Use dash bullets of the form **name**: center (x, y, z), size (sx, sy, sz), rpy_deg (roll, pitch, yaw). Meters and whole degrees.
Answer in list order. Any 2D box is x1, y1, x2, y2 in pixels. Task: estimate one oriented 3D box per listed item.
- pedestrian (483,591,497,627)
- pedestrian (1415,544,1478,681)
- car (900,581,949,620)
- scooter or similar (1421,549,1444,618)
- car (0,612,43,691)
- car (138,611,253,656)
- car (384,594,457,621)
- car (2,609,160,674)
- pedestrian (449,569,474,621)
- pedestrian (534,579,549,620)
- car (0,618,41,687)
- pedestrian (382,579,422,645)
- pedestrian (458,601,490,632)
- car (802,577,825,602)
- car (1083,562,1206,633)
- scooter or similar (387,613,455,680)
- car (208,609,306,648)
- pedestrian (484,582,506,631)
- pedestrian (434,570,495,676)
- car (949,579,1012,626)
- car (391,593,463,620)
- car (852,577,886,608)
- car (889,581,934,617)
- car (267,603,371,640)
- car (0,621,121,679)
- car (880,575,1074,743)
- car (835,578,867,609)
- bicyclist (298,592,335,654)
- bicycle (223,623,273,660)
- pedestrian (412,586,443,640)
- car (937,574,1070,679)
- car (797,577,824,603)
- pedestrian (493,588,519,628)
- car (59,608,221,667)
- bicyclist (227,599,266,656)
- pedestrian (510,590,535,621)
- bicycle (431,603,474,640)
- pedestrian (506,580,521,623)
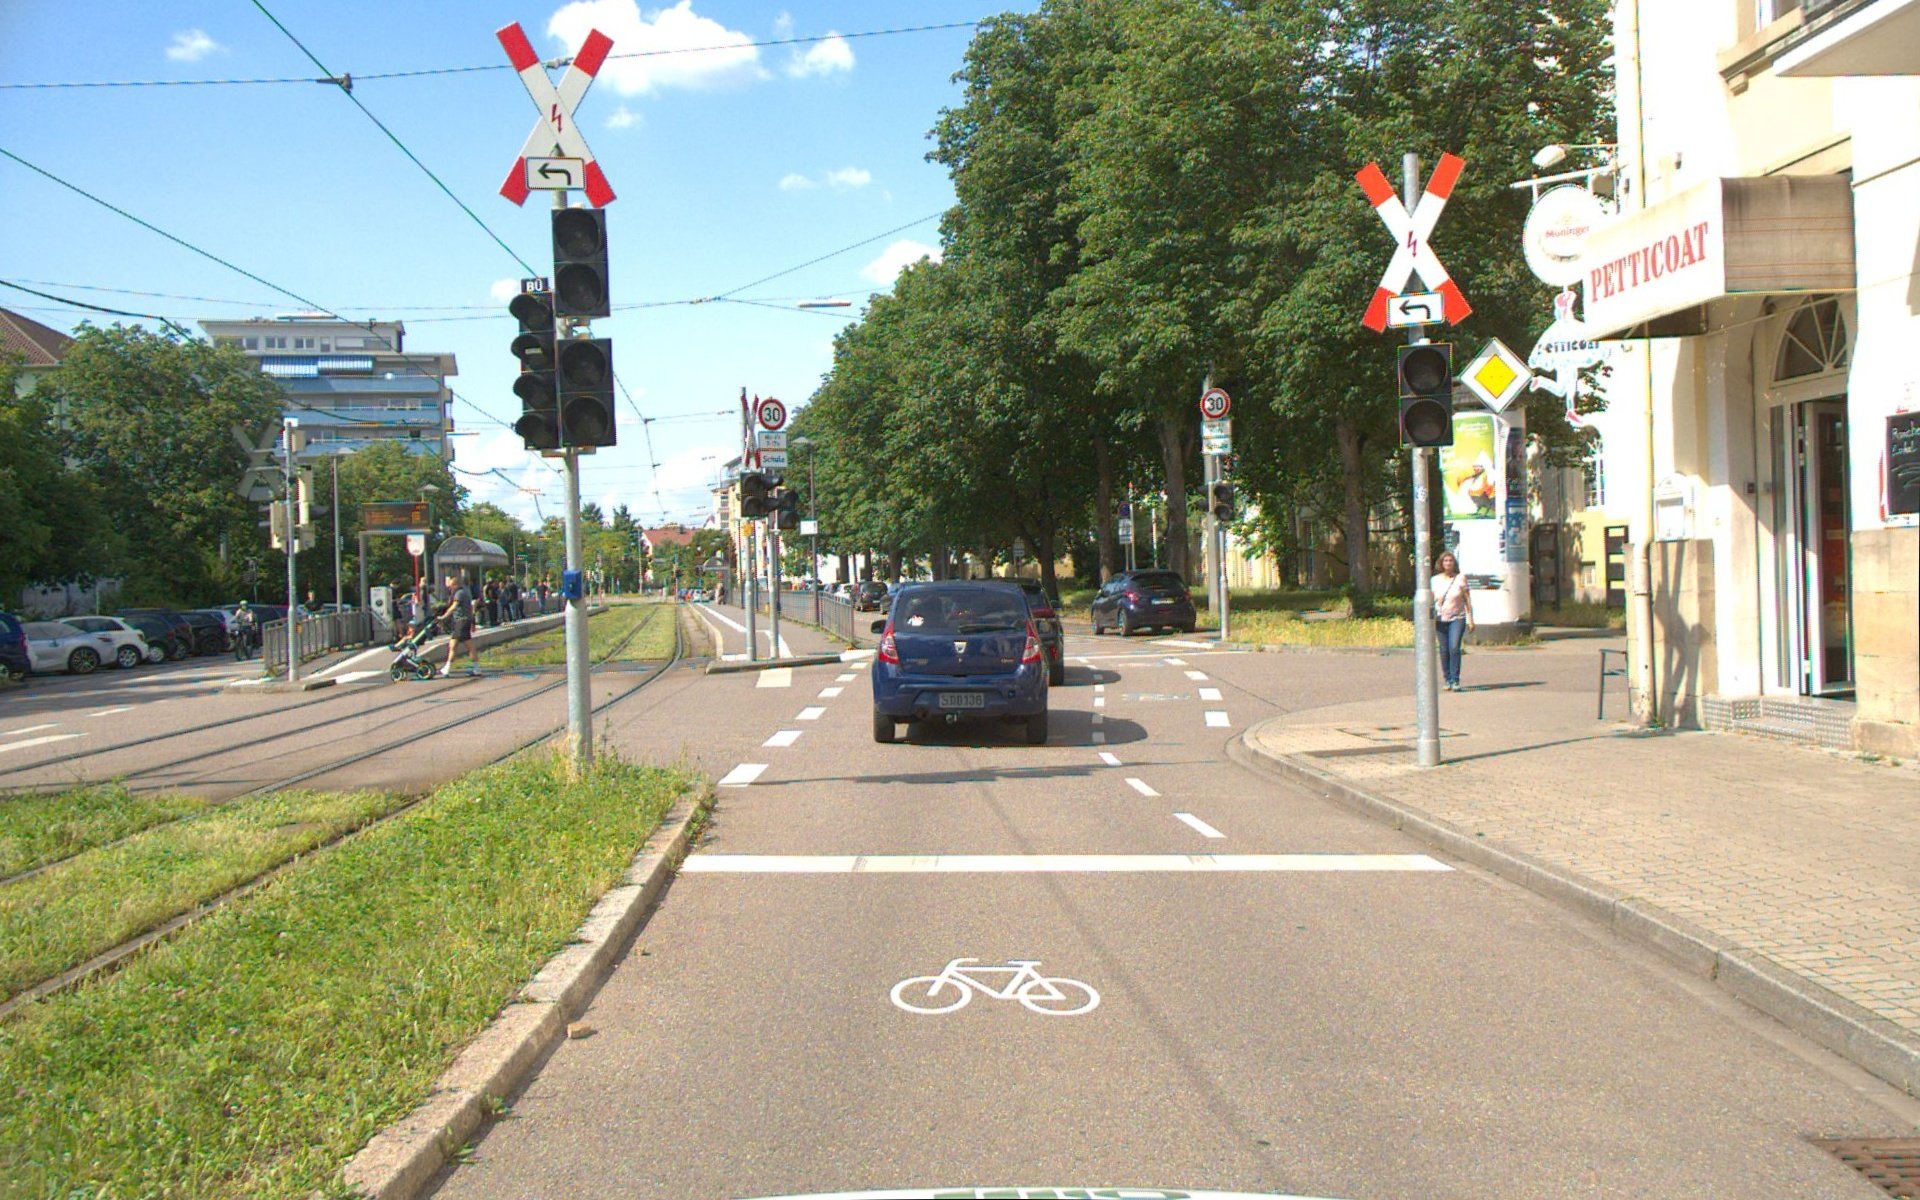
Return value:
- **pedestrian**: center (-19.314, 0.363, 67.977), size (0.480, 1.477, 0.461), rpy_deg (-3, 1, -19)
- **pedestrian**: center (6.167, 0.151, 20.947), size (0.658, 1.677, 0.764), rpy_deg (-3, 0, 19)
- **car**: center (-1.531, -0.006, 70.460), size (1.825, 1.470, 3.997), rpy_deg (-4, 1, -4)
- **scooter or similar**: center (8.540, -0.300, 29.919), size (0.299, 1.210, 1.163), rpy_deg (-2, 1, 13)
- **car**: center (-22.121, 1.184, 35.309), size (1.694, 1.669, 4.110), rpy_deg (-2, 1, 41)
- **car**: center (-25.563, 1.102, 55.378), size (1.425, 1.332, 3.239), rpy_deg (-2, 1, 32)
- **car**: center (-32.258, 0.448, 98.940), size (1.606, 1.410, 3.987), rpy_deg (-2, 1, 35)
- **car**: center (-23.336, 1.089, 43.989), size (1.517, 1.531, 3.368), rpy_deg (-2, 1, 43)
- **pedestrian**: center (-16.959, -0.161, 56.316), size (0.643, 1.721, 0.655), rpy_deg (-3, 1, -9)
- **pedestrian**: center (-20.887, -0.031, 82.501), size (0.649, 2.048, 0.801), rpy_deg (-2, 1, -15)
- **car**: center (-23.274, 1.279, 37.296), size (1.694, 1.525, 4.110), rpy_deg (-2, 1, 41)
- **pedestrian**: center (-15.195, 0.337, 45.030), size (0.699, 1.756, 0.666), rpy_deg (-2, 1, 33)
- **pedestrian**: center (-16.964, 0.571, 57.764), size (0.907, 1.006, 0.796), rpy_deg (-4, -1, -7)
- **car**: center (-11.149, -0.801, 125.748), size (1.635, 1.802, 3.996), rpy_deg (-2, 1, -5)
- **car**: center (4.183, -0.067, 38.144), size (1.734, 1.458, 3.895), rpy_deg (-3, 1, -10)
- **scooter or similar**: center (-9.411, 0.803, 28.902), size (0.937, 1.083, 0.795), rpy_deg (-4, 1, -10)
- **car**: center (-27.291, 1.094, 64.258), size (1.426, 1.332, 3.236), rpy_deg (-2, 1, 35)
- **pedestrian**: center (-17.344, 0.230, 61.713), size (0.592, 1.796, 0.639), rpy_deg (-2, 0, 0)
- **pedestrian**: center (-8.788, 0.404, 29.361), size (0.855, 1.806, 1.000), rpy_deg (-3, 0, -12)
- **car**: center (0.682, 0.053, 58.319), size (1.825, 1.470, 3.997), rpy_deg (-4, 1, -4)
- **car**: center (-33.558, 0.396, 104.196), size (3.970, 1.472, 1.700), rpy_deg (-3, 1, -44)
- **car**: center (-5.112, -0.431, 92.770), size (1.792, 1.564, 3.997), rpy_deg (-3, 1, -4)
- **car**: center (-2.216, -0.072, 74.930), size (1.815, 1.542, 3.997), rpy_deg (-2, 1, -4)
- **car**: center (-28.663, 0.942, 74.064), size (1.684, 1.391, 3.981), rpy_deg (-2, 1, 39)
- **car**: center (-22.881, 1.248, 41.036), size (1.516, 1.257, 3.370), rpy_deg (-2, 1, 41)
- **car**: center (0.116, 0.505, 16.874), size (1.732, 1.487, 3.775), rpy_deg (-1, 1, -1)
- **car**: center (-6.699, -0.391, 101.282), size (1.587, 1.780, 3.992), rpy_deg (-2, 1, -9)
- **bicyclist**: center (-22.443, 0.801, 57.710), size (0.932, 2.048, 1.569), rpy_deg (-4, 0, -17)
- **bicycle**: center (-21.111, 1.220, 49.094), size (0.667, 0.987, 2.176), rpy_deg (-3, 1, -5)
- **pedestrian**: center (-16.112, 0.388, 50.055), size (0.650, 1.596, 0.685), rpy_deg (-4, 1, -2)
- **car**: center (0.553, 0.333, 23.865), size (1.666, 1.391, 3.513), rpy_deg (0, 1, -3)
- **car**: center (-10.770, -0.736, 119.647), size (1.794, 1.792, 3.997), rpy_deg (-2, 1, -4)
- **pedestrian**: center (-17.095, 0.300, 62.277), size (0.641, 1.450, 0.562), rpy_deg (-3, 1, 28)
- **car**: center (-24.388, 1.091, 49.289), size (1.659, 1.482, 3.980), rpy_deg (-2, 1, 40)
- **bicyclist**: center (-21.118, 0.812, 48.973), size (0.770, 1.609, 0.862), rpy_deg (-3, 1, -6)
- **pedestrian**: center (-21.579, 0.254, 81.517), size (1.015, 1.462, 0.698), rpy_deg (-4, 1, -24)
- **bicycle**: center (-15.259, 0.638, 49.761), size (0.672, 0.991, 1.771), rpy_deg (-5, 1, 1)
- **pedestrian**: center (-18.455, 0.058, 68.297), size (0.480, 1.742, 0.461), rpy_deg (-3, 1, -19)
